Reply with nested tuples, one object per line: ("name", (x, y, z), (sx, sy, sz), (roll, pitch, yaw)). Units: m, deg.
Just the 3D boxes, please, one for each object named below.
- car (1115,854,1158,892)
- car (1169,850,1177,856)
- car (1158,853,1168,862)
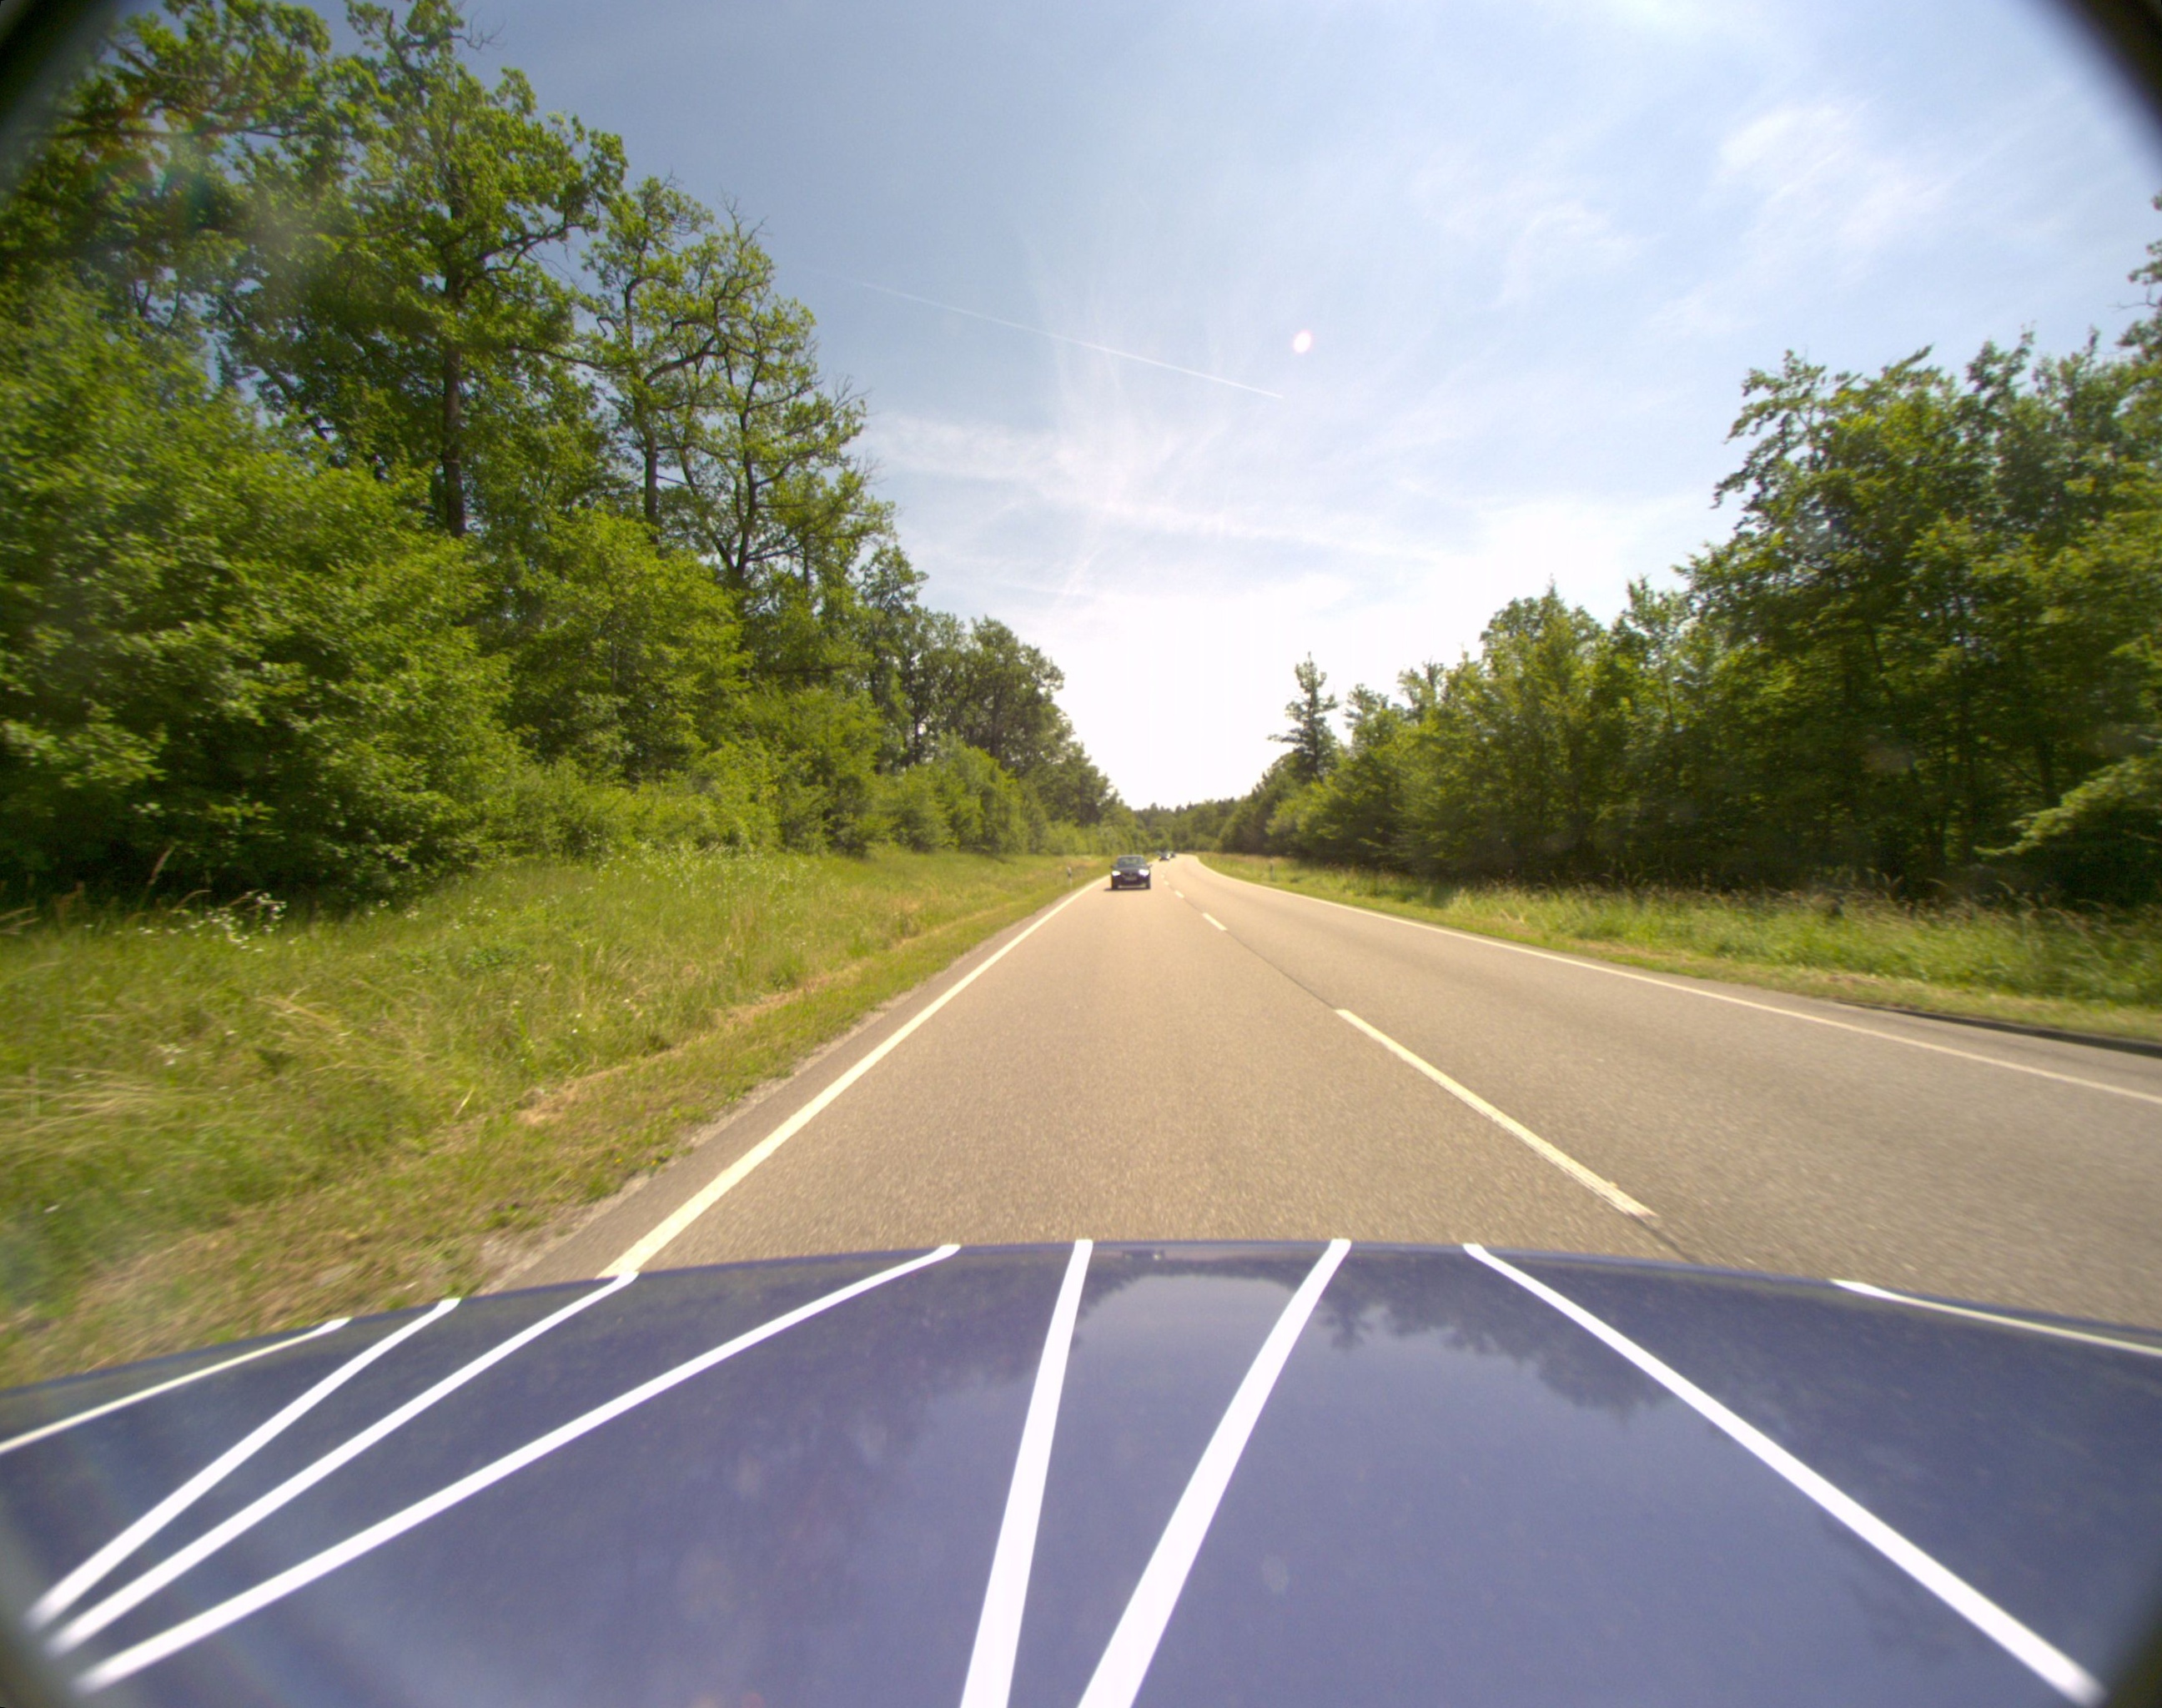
("car", (2.584, 0.816, 34.616), (1.713, 1.516, 4.243), (-3, 0, 6))
("car", (21.742, -0.238, 179.822), (1.775, 1.454, 4.002), (-1, 0, 8))
("car", (14.385, 0.591, 133.577), (1.775, 1.454, 3.950), (-1, 0, 6))
